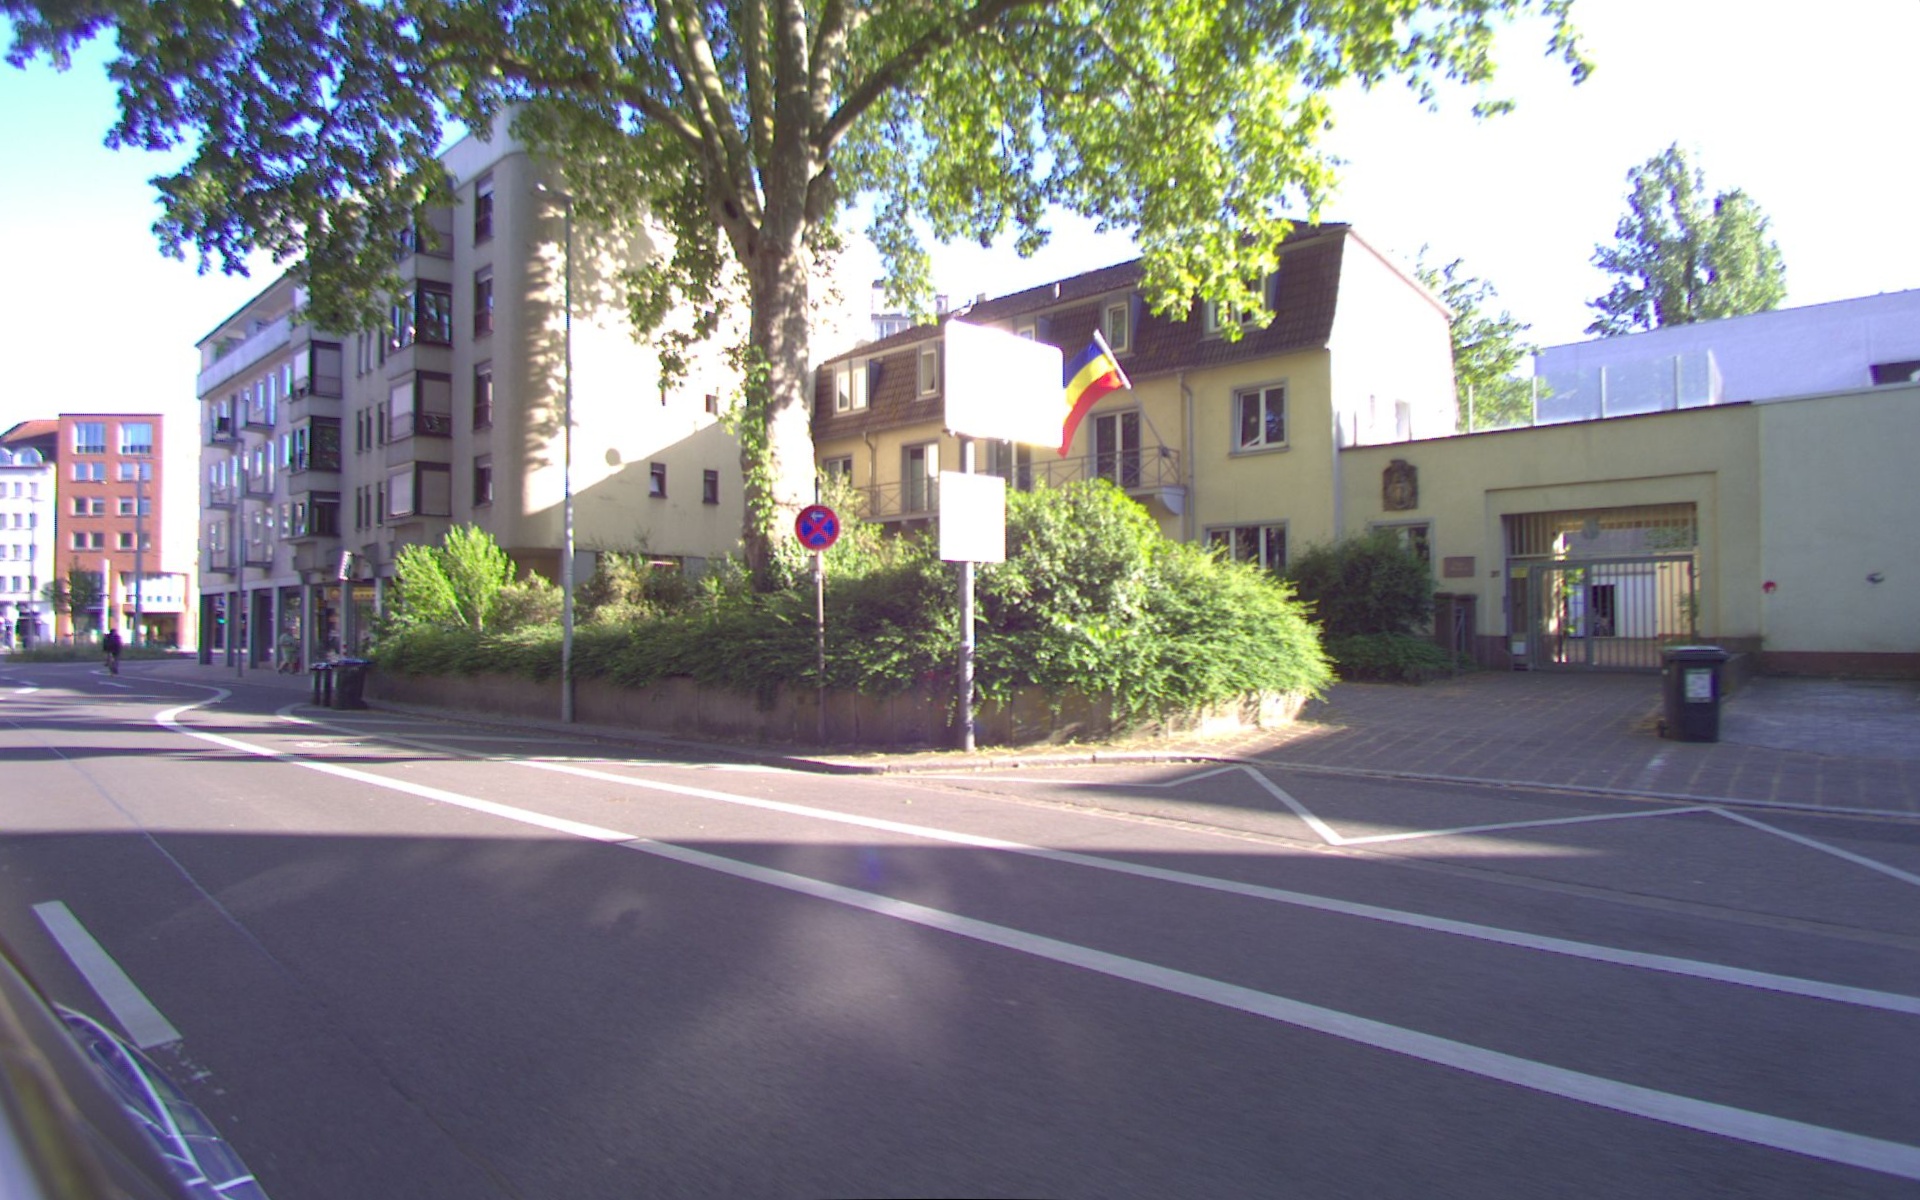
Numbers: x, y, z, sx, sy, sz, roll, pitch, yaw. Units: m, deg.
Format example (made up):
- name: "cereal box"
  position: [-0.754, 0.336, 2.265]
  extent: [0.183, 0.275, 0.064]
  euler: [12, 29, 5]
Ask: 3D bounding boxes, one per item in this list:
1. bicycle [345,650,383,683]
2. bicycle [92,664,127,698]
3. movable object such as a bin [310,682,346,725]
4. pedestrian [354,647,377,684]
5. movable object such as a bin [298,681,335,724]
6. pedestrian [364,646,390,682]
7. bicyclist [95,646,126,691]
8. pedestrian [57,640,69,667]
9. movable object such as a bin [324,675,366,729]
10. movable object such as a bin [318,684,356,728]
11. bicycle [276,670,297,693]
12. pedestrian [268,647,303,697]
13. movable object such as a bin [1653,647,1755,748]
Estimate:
- name: "bicycle"
  position: [-19.540, 2.165, 33.162]
  extent: [2.010, 1.053, 0.444]
  euler: [-2, -3, 41]
- name: "bicycle"
  position: [-32.201, 3.039, 38.326]
  extent: [2.178, 1.209, 0.720]
  euler: [-2, -4, 43]
- name: "movable object such as a bin"
  position: [-13.997, 2.287, 22.403]
  extent: [0.559, 0.908, 0.535]
  euler: [-2, -3, 41]
- name: "pedestrian"
  position: [-22.596, 2.488, 38.480]
  extent: [0.605, 1.378, 0.712]
  euler: [0, -1, -43]
- name: "movable object such as a bin"
  position: [-14.470, 2.302, 22.761]
  extent: [0.603, 0.908, 0.535]
  euler: [-2, -3, 41]
- name: "pedestrian"
  position: [-22.675, 2.494, 39.353]
  extent: [0.701, 1.346, 0.740]
  euler: [0, -1, -44]
- name: "bicyclist"
  position: [-32.174, 2.582, 38.324]
  extent: [1.167, 1.654, 0.720]
  euler: [-2, -3, 43]
- name: "pedestrian"
  position: [-60.570, 3.595, 68.363]
  extent: [0.585, 1.760, 0.503]
  euler: [-1, -1, -40]
- name: "movable object such as a bin"
  position: [-13.021, 2.148, 21.444]
  extent: [0.644, 1.079, 0.588]
  euler: [-2, -3, 41]
- name: "movable object such as a bin"
  position: [-13.533, 2.293, 21.995]
  extent: [0.644, 0.908, 0.535]
  euler: [-2, -3, 41]
- name: "bicycle"
  position: [-26.031, 3.151, 39.113]
  extent: [1.523, 0.831, 0.354]
  euler: [-3, -2, 44]
- name: "pedestrian"
  position: [-24.636, 2.620, 36.979]
  extent: [0.719, 1.753, 0.828]
  euler: [-1, -1, 25]
- name: "movable object such as a bin"
  position: [8.274, 1.065, 11.257]
  extent: [0.834, 1.052, 0.522]
  euler: [-3, -1, 41]
